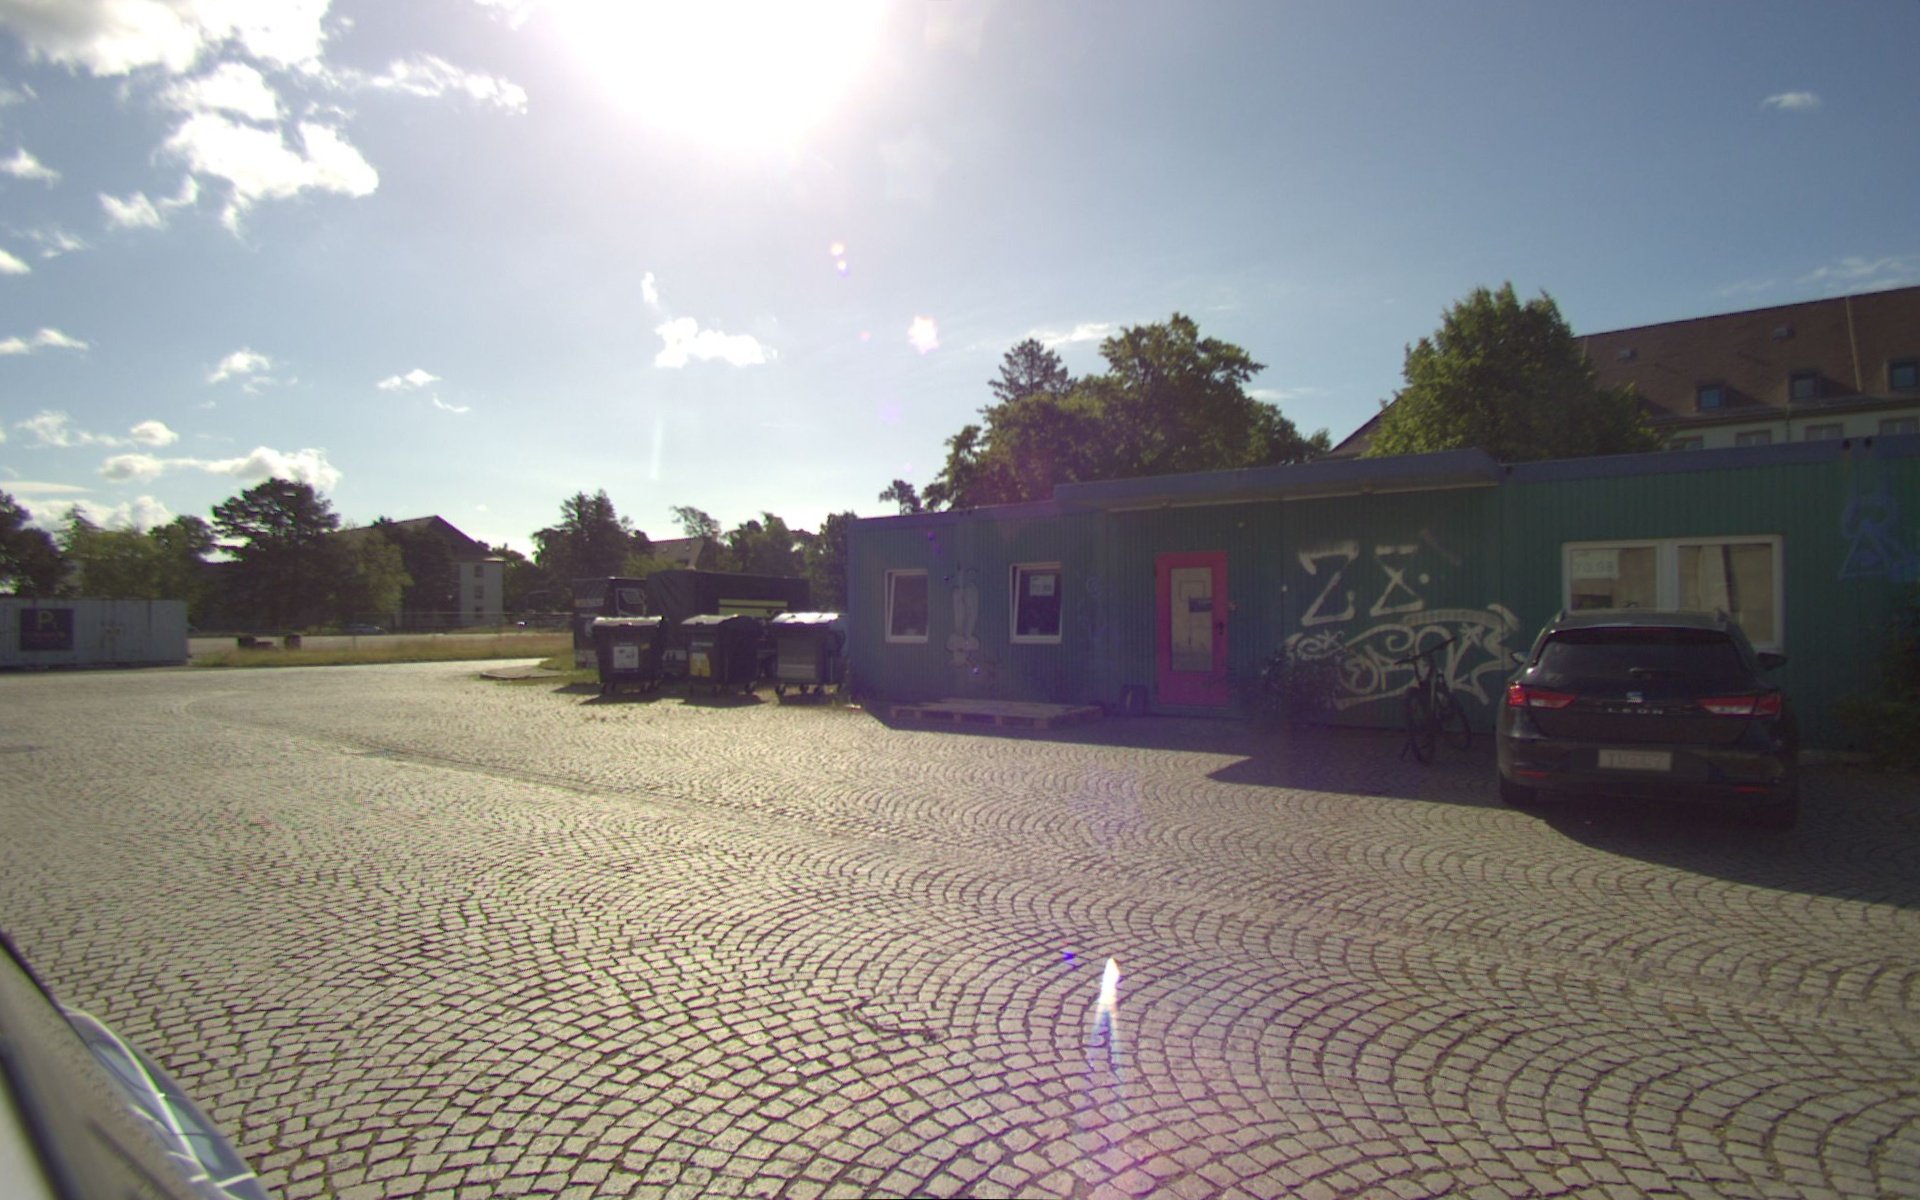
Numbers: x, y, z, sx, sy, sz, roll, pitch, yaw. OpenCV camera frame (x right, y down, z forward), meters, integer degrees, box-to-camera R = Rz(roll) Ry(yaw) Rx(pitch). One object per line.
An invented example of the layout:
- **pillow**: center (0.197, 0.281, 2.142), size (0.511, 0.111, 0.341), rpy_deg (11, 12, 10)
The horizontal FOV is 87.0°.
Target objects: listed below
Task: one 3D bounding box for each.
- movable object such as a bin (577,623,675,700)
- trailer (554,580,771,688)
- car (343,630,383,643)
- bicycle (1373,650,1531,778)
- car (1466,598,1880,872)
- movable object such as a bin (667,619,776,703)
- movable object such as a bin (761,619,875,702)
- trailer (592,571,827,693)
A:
- **movable object such as a bin**: center (-6.351, 1.148, 19.349), size (1.512, 1.397, 1.388), rpy_deg (0, -2, -5)
- **trailer**: center (-7.008, 0.797, 24.259), size (2.135, 2.315, 4.608), rpy_deg (-2, -2, 39)
- **car**: center (-75.753, 4.629, 128.503), size (1.995, 1.594, 3.953), rpy_deg (-1, -2, 34)
- **bicycle**: center (4.723, 1.017, 9.653), size (1.036, 1.035, 1.858), rpy_deg (-2, -2, 36)
- **car**: center (5.404, 0.752, 7.866), size (1.995, 1.475, 4.376), rpy_deg (-2, -1, 35)
- **movable object such as a bin**: center (-4.350, 1.078, 18.434), size (1.534, 1.433, 1.283), rpy_deg (-2, -2, 40)
- **movable object such as a bin**: center (-2.527, 1.046, 18.094), size (1.528, 1.397, 1.373), rpy_deg (-1, -2, 27)
- **trailer**: center (-5.359, 0.681, 22.344), size (2.091, 2.373, 4.916), rpy_deg (-1, -2, 35)
